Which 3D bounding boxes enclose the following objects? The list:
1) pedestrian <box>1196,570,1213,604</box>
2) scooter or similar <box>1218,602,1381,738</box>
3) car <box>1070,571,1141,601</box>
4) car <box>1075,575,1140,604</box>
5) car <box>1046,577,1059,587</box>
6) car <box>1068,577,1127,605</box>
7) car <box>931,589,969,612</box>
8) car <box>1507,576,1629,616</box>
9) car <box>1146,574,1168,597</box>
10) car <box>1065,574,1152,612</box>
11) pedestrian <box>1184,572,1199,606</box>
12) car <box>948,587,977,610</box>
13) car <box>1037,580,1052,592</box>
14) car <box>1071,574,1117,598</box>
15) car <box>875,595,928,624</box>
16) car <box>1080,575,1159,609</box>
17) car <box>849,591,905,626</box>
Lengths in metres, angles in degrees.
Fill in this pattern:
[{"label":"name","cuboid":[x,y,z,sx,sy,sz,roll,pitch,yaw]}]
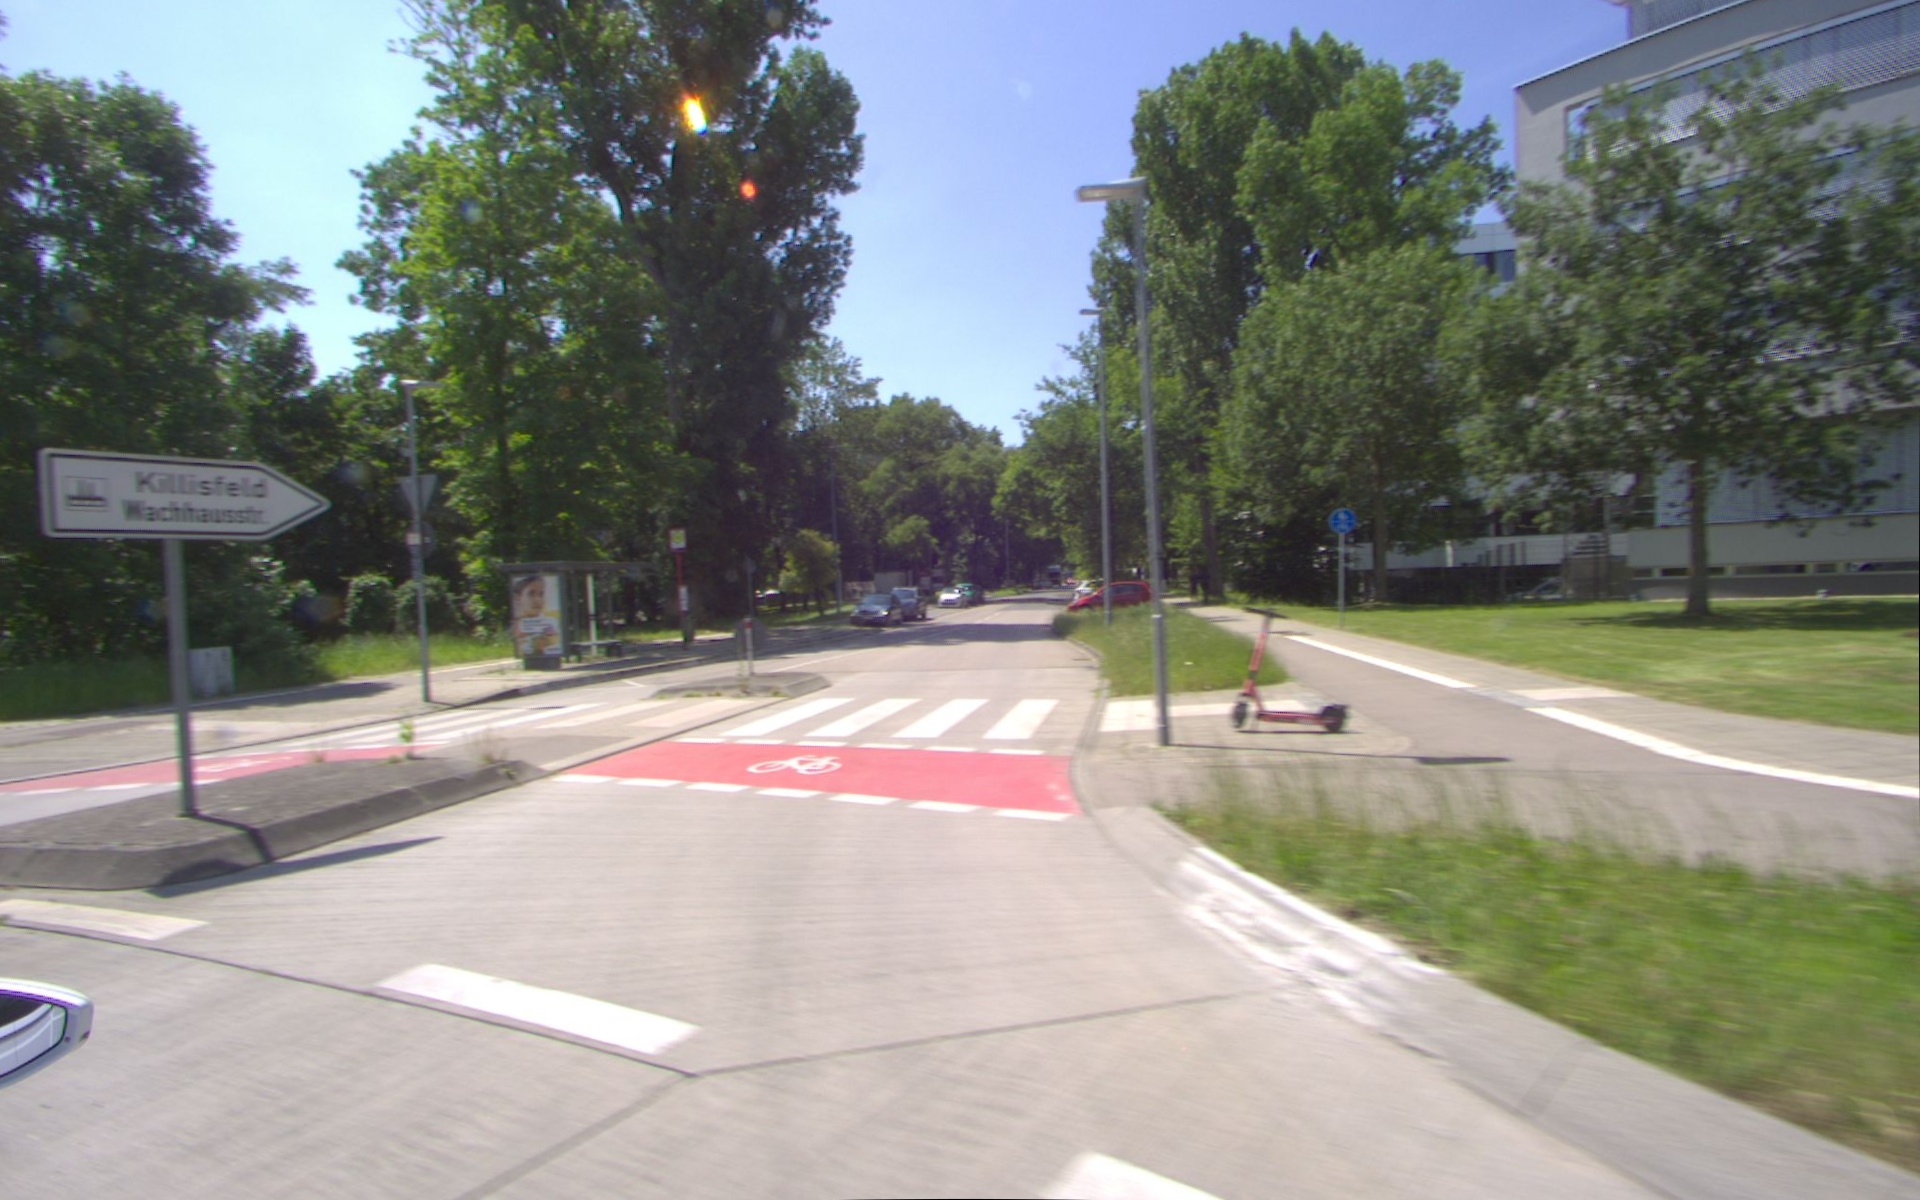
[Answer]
[{"label":"pedestrian","cuboid":[11.970,-0.632,49.032,0.561,1.629,0.644,-2,1,-6]},{"label":"scooter or similar","cuboid":[3.236,0.656,9.581,1.378,1.217,0.445,-2,1,31]},{"label":"car","cuboid":[10.995,-1.049,76.093,5.213,2.012,1.759,-2,1,8]},{"label":"car","cuboid":[8.735,-0.609,59.542,3.713,1.537,1.812,-2,0,7]},{"label":"car","cuboid":[17.031,-3.248,184.553,1.882,1.706,3.997,-2,0,10]},{"label":"car","cuboid":[9.476,-0.606,69.016,3.923,1.728,1.759,-2,1,8]},{"label":"car","cuboid":[-0.660,0.038,69.996,1.962,1.489,3.997,-2,0,10]},{"label":"car","cuboid":[27.348,-0.177,45.133,4.273,1.589,1.853,-2,0,8]},{"label":"car","cuboid":[16.366,-1.208,83.309,1.661,1.751,3.997,-2,0,9]},{"label":"car","cuboid":[6.570,-0.324,44.518,3.613,1.503,1.868,-2,0,4]},{"label":"pedestrian","cuboid":[11.296,-0.547,48.846,0.577,1.638,0.486,-2,1,-5]},{"label":"car","cuboid":[0.234,-0.137,74.292,1.703,1.564,3.444,-2,0,7]},{"label":"car","cuboid":[12.629,-2.109,149.321,1.882,1.706,3.997,-2,0,9]},{"label":"car","cuboid":[11.811,-1.205,88.347,3.923,1.897,1.684,-2,1,6]},{"label":"car","cuboid":[-2.919,0.454,51.058,1.962,1.327,3.998,-2,0,7]},{"label":"car","cuboid":[7.824,-0.385,49.422,3.613,1.503,1.868,-2,0,4]},{"label":"car","cuboid":[-3.666,0.351,44.975,1.670,1.506,3.998,1,1,8]}]
